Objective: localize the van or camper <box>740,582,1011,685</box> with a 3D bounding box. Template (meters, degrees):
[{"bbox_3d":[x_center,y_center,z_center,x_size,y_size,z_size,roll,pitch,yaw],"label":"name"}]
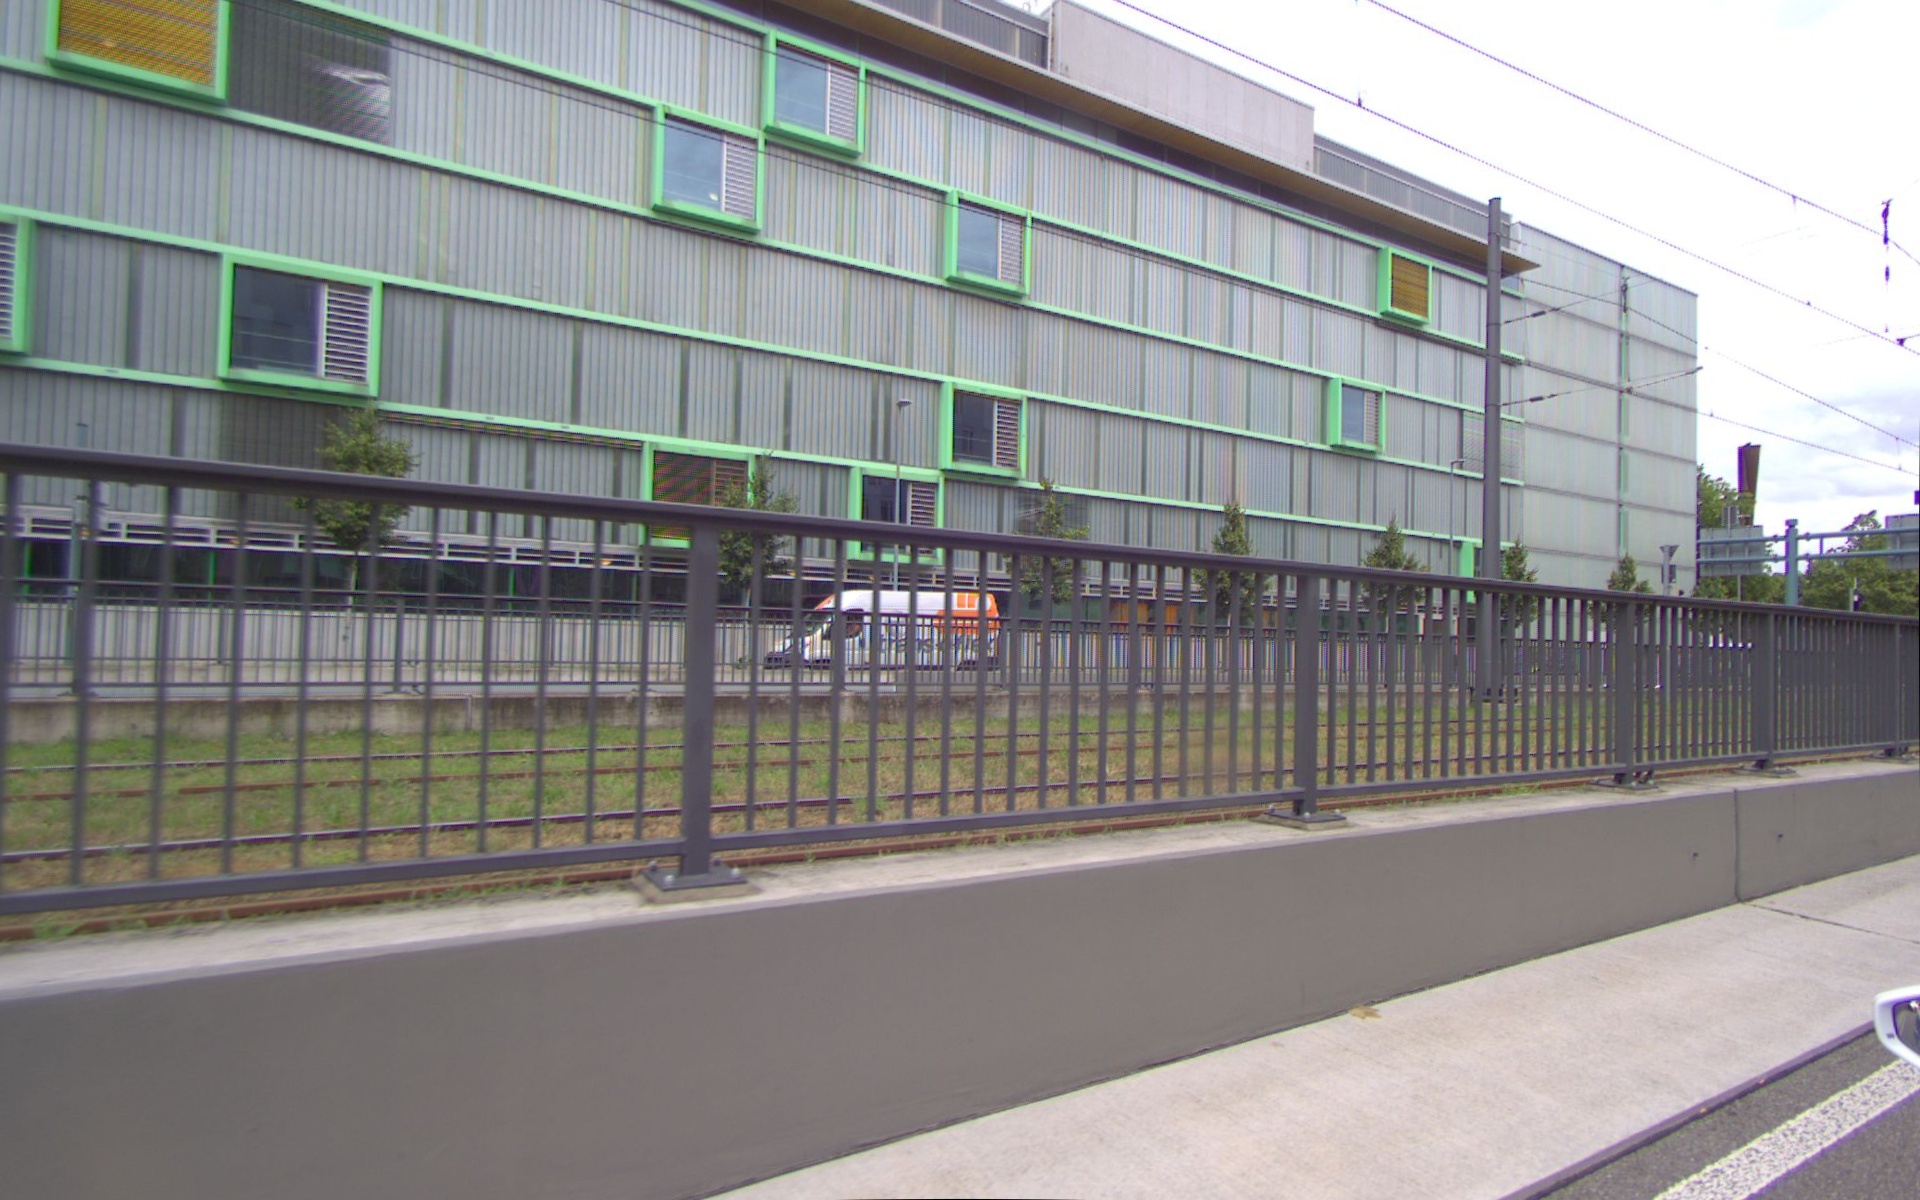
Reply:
[{"bbox_3d":[-2.014,0.862,25.148,6.430,2.317,2.162,2,-1,-30],"label":"van or camper"}]
